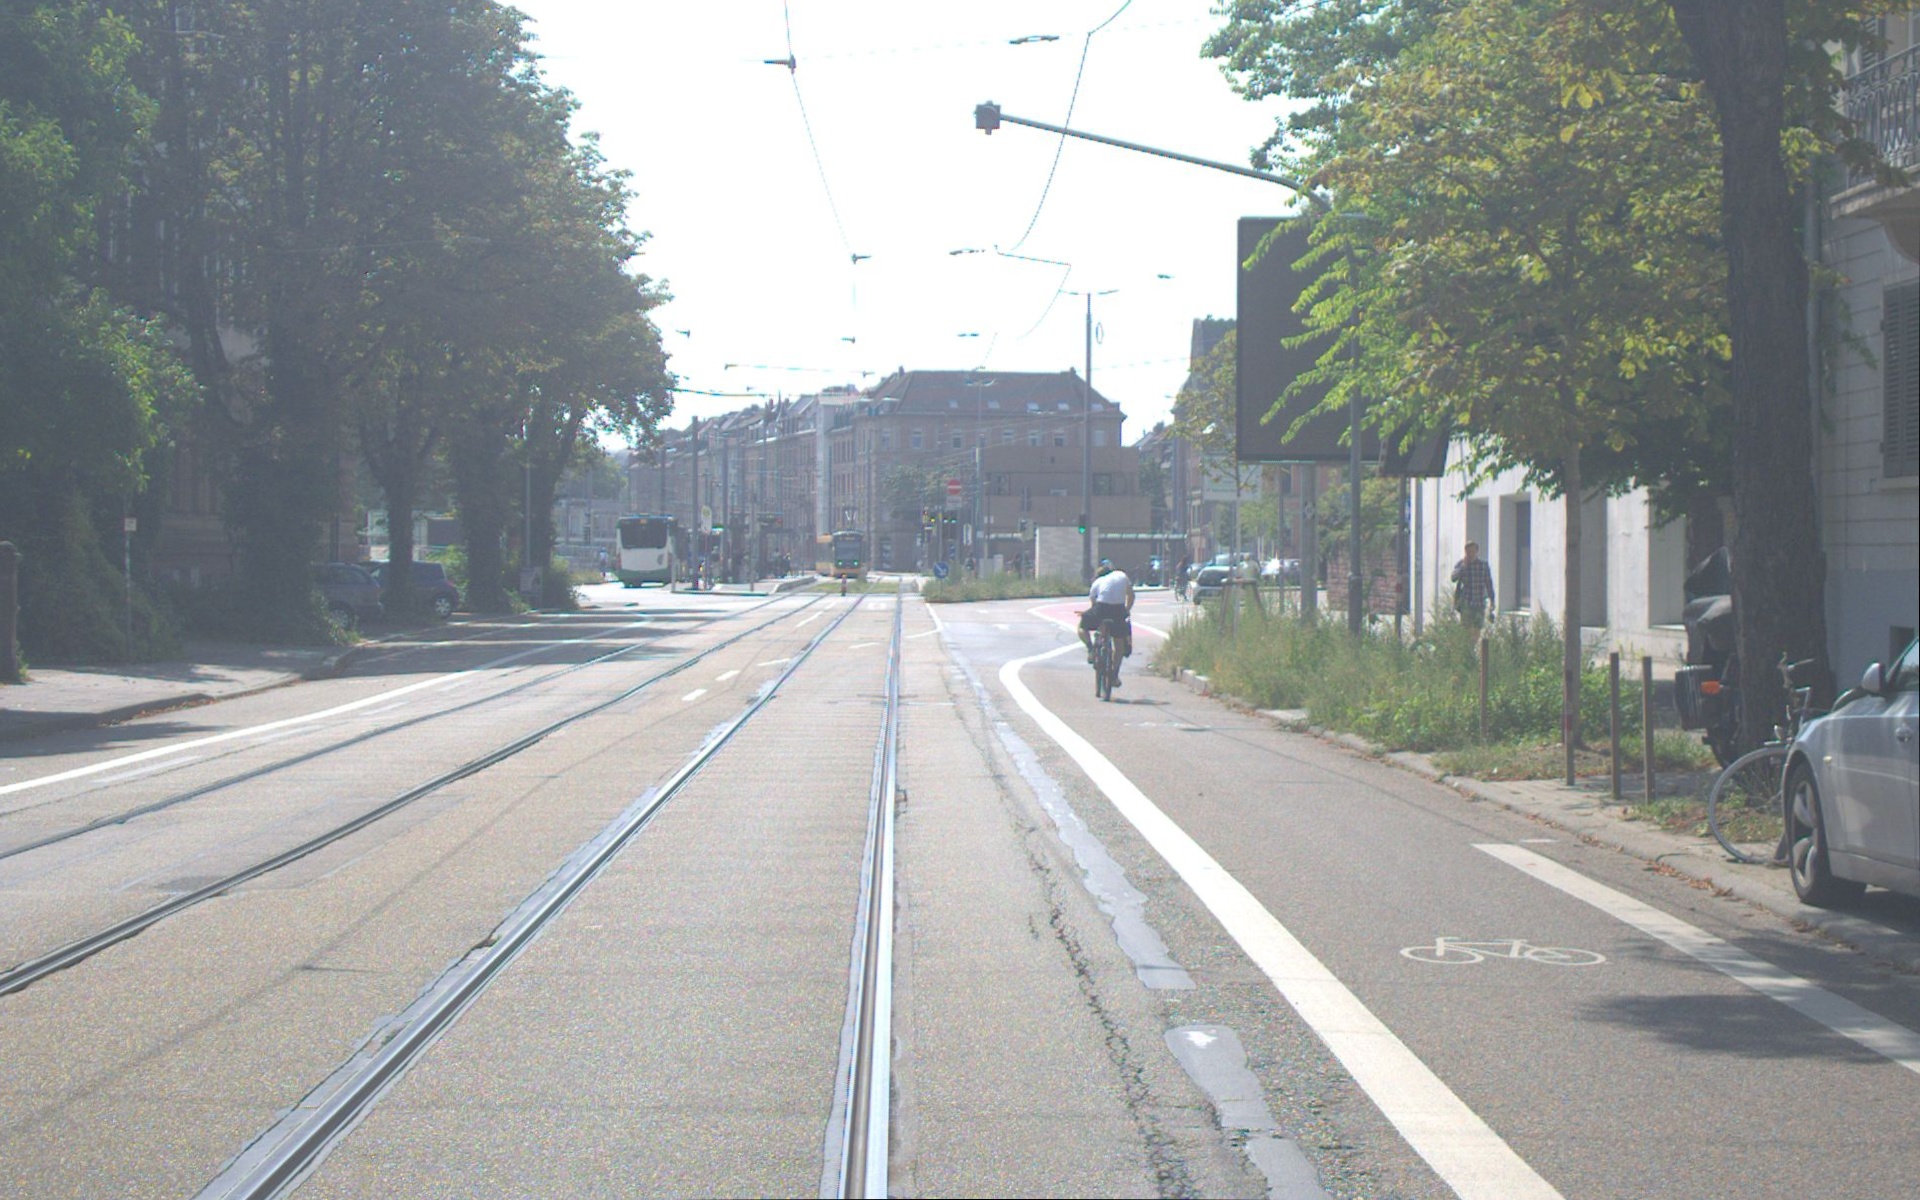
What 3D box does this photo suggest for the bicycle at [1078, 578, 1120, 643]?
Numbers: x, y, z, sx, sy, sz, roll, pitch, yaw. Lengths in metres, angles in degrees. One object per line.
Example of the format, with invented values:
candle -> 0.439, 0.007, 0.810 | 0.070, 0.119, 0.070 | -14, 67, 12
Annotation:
bicycle -> 2.551, 0.181, 63.174 | 0.604, 1.159, 1.810 | 1, 1, 7

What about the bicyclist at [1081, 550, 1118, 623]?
bicyclist -> 2.563, -0.257, 63.205 | 0.603, 1.331, 0.659 | 1, 0, 7

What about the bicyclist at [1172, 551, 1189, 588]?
bicyclist -> 8.519, -1.189, 132.888 | 0.450, 1.416, 0.495 | 0, 0, 30

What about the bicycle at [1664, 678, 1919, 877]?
bicycle -> 4.583, 0.887, 17.344 | 1.923, 0.949, 0.721 | 0, 0, 2

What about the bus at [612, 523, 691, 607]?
bus -> -14.419, -1.623, 161.430 | 2.957, 3.762, 10.597 | 1, 0, -1

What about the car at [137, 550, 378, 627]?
car -> -14.170, -0.233, 69.398 | 4.414, 1.457, 1.821 | 1, 1, -27

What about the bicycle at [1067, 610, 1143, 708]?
bicycle -> 1.662, 0.663, 39.651 | 0.739, 1.045, 2.233 | 1, 1, -1

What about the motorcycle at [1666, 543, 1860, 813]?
motorcycle -> 4.857, 0.440, 20.947 | 0.886, 1.547, 2.411 | 0, 0, 7

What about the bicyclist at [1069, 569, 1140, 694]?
bicyclist -> 1.661, 0.357, 39.667 | 0.745, 1.407, 0.962 | 1, 1, 0

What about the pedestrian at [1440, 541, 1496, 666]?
pedestrian -> 7.062, 0.046, 47.789 | 0.692, 1.726, 0.579 | 0, 1, 1

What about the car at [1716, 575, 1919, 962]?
car -> 4.498, 0.638, 13.473 | 1.782, 1.445, 4.752 | 0, 1, -3

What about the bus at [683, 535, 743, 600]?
bus -> -14.801, -1.949, 206.953 | 2.709, 3.714, 10.419 | 1, 0, 0

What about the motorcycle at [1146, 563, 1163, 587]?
motorcycle -> 9.716, -1.248, 171.863 | 0.604, 1.206, 2.252 | 1, 1, 10

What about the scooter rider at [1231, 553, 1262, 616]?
scooter rider -> 8.116, -0.432, 97.419 | 0.762, 1.769, 0.555 | 1, 0, 16

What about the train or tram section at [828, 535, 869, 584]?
train or tram section -> -8.323, -3.008, 258.544 | 2.856, 3.536, 17.743 | 1, 0, -1

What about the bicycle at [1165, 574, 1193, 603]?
bicycle -> 8.461, -0.463, 132.804 | 0.445, 1.113, 1.444 | 0, 0, 30
